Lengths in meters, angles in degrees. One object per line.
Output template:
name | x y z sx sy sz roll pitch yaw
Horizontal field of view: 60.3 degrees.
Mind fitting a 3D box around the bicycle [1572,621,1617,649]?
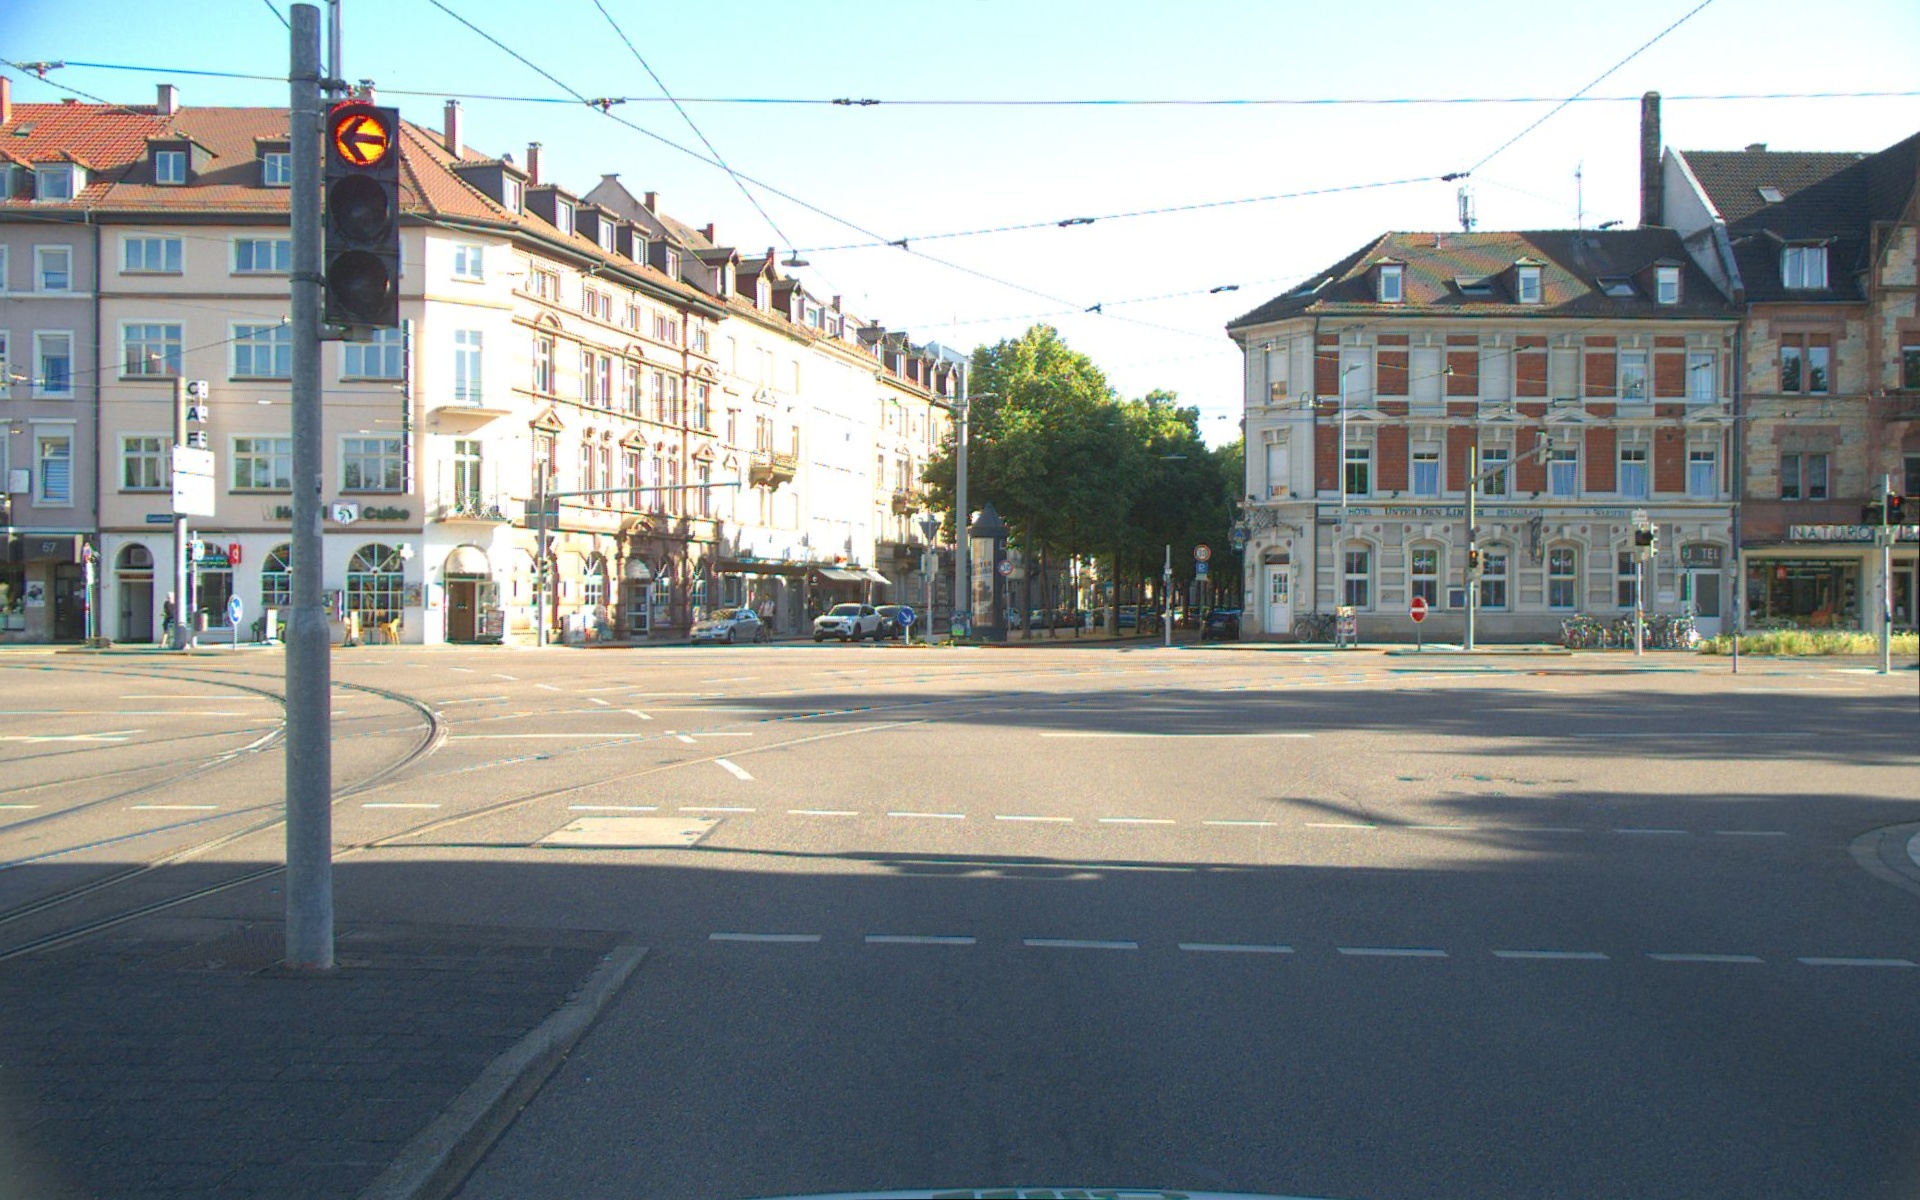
bicycle | 20.481 1.122 53.452 0.645 0.855 2.160 1 0 0

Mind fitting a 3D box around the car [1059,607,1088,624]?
car | 9.316 1.249 135.892 1.642 1.378 3.593 0 0 16

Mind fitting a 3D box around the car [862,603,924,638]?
car | -2.948 0.887 73.548 1.642 1.509 3.950 0 0 16

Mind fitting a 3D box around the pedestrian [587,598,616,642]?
pedestrian | -13.786 0.765 63.548 0.759 1.699 0.831 1 -1 15

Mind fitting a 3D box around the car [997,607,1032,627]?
car | 3.821 1.157 115.511 1.642 1.378 3.593 0 0 16

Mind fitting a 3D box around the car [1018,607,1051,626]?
car | 5.532 1.195 122.498 1.642 1.378 3.593 0 0 16

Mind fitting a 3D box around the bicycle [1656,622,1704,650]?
bicycle | 23.280 1.170 53.524 0.645 0.855 2.160 1 0 0

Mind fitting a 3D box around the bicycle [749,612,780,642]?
bicycle | -7.680 1.046 65.123 0.687 1.137 1.636 1 0 13

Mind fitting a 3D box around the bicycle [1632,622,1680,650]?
bicycle | 22.491 1.156 53.478 0.645 0.855 2.160 1 0 0

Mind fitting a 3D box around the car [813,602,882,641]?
car | -4.535 0.843 67.223 1.642 1.509 3.774 0 0 16

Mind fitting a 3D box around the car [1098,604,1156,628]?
car | 11.713 1.115 115.831 3.819 1.677 1.684 0 0 16

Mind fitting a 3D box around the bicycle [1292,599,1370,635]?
bicycle | 12.867 0.590 57.454 2.504 1.194 0.818 1 -1 -4

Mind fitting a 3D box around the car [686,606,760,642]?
car | -9.540 0.932 66.741 1.642 1.378 3.593 0 0 16

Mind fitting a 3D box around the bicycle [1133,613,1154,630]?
bicycle | 11.051 1.295 99.624 0.625 1.039 1.840 1 0 -14

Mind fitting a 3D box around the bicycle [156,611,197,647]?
bicycle | -24.658 0.898 52.065 0.561 1.096 1.497 1 0 -1

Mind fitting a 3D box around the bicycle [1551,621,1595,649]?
bicycle | 19.762 1.109 53.364 0.645 0.855 2.160 1 0 0

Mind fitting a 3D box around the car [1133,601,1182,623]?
car | 15.318 0.959 128.243 3.503 1.677 1.684 0 0 16

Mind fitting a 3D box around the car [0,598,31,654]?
car | -32.151 0.788 52.252 4.276 1.741 2.306 1 0 1

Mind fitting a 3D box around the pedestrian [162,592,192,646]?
pedestrian | -24.655 0.601 52.096 0.570 1.699 0.752 1 -1 -1

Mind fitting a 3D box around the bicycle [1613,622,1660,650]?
bicycle | 21.864 1.146 53.499 0.645 0.855 2.160 1 0 0

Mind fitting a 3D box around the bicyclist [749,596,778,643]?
bicyclist | -7.714 0.766 65.000 0.761 1.834 1.056 1 -1 13

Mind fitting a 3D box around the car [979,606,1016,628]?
car | 2.564 1.138 111.336 1.642 1.378 3.593 0 0 16

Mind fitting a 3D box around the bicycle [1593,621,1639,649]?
bicycle | 21.193 1.134 53.465 0.645 0.855 2.160 1 0 0

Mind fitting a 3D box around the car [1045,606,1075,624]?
car | 7.891 1.213 130.840 1.642 1.378 3.593 0 0 16

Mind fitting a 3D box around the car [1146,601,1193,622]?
car | 16.940 0.884 133.743 3.503 1.677 1.684 0 0 16

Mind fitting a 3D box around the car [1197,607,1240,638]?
car | 12.958 1.106 82.746 1.642 1.509 3.950 0 0 16
